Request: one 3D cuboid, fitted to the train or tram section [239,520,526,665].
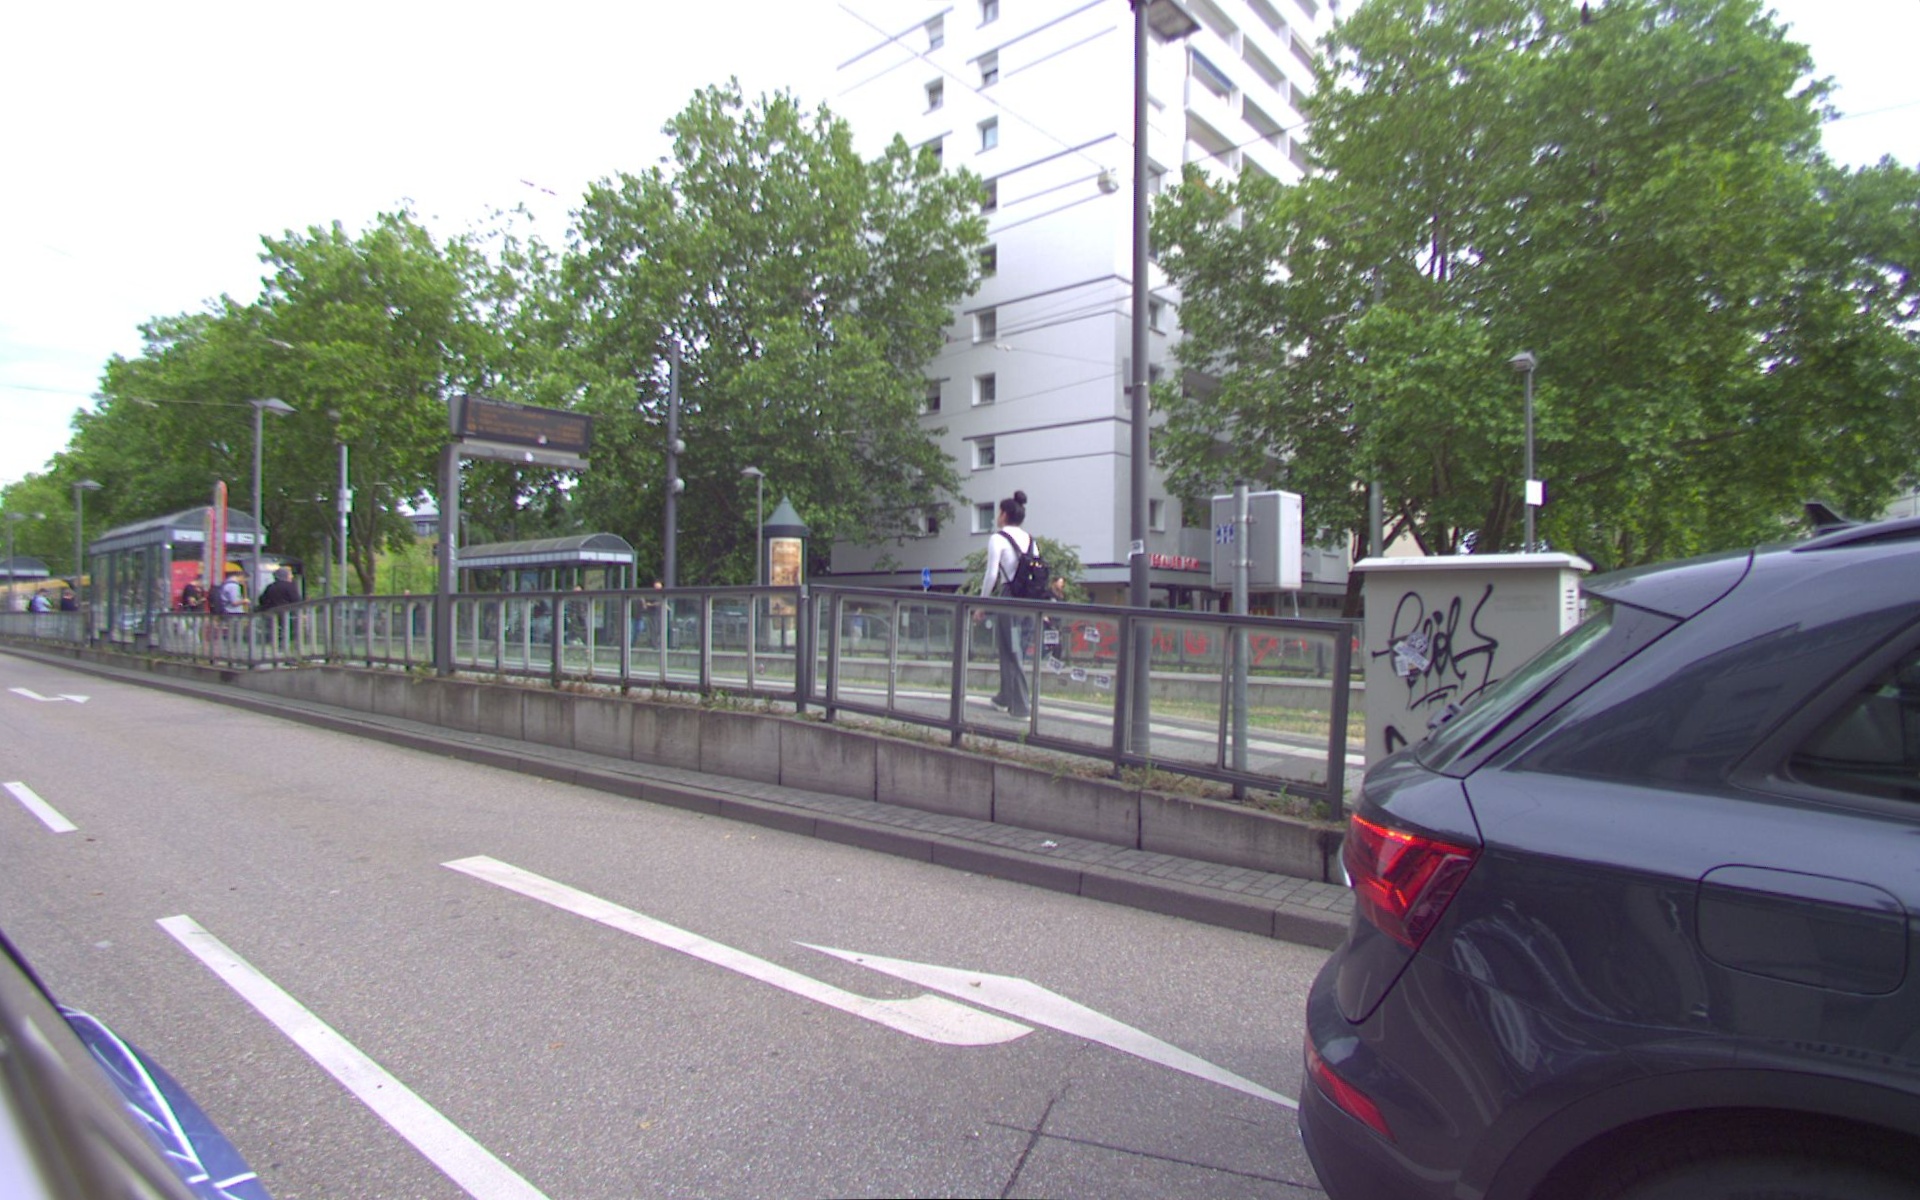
[{"bbox_3d":[-19.239,-0.138,32.770,15.196,3.781,3.295,-1,0,41],"label":"train or tram section"}]

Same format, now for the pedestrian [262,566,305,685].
[{"bbox_3d":[-10.527,0.387,15.750,0.513,1.818,0.606,-1,0,-37],"label":"pedestrian"}]

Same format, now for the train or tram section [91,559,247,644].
[{"bbox_3d":[-40.520,0.135,51.411,16.241,3.781,3.295,-1,0,41],"label":"train or tram section"}]

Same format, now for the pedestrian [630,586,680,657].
[{"bbox_3d":[-7.730,0.534,25.644,0.850,1.769,0.871,-1,0,41],"label":"pedestrian"}]

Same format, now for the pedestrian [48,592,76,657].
[{"bbox_3d":[-25.566,0.690,28.831,0.523,1.818,0.607,-1,0,-35],"label":"pedestrian"}]

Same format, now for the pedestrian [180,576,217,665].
[{"bbox_3d":[-15.923,0.417,21.170,0.467,1.818,0.607,-1,0,-24],"label":"pedestrian"}]

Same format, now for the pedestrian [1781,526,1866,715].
[{"bbox_3d":[9.410,0.211,11.035,0.666,1.965,0.728,-1,0,41],"label":"pedestrian"}]

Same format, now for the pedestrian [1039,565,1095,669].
[{"bbox_3d":[1.875,0.287,17.691,0.666,1.763,0.728,-1,0,41],"label":"pedestrian"}]

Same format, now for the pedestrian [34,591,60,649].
[{"bbox_3d":[-29.035,0.621,32.194,0.523,1.818,0.607,-1,0,-35],"label":"pedestrian"}]

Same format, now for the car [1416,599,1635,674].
[{"bbox_3d":[12.795,0.797,23.048,3.938,1.564,1.937,-1,0,-6],"label":"car"}]

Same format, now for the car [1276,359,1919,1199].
[{"bbox_3d":[2.690,0.519,0.979,4.225,1.649,1.715,-1,0,41],"label":"car"}]

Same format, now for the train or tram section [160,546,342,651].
[{"bbox_3d":[-29.645,-0.004,41.920,12.543,3.781,3.295,-1,0,41],"label":"train or tram section"}]

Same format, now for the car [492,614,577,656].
[{"bbox_3d":[-15.432,1.243,36.632,3.218,1.439,1.561,-1,-1,41],"label":"car"}]

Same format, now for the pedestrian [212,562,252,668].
[{"bbox_3d":[-12.749,0.265,17.725,0.605,1.818,0.469,-1,0,45],"label":"pedestrian"}]

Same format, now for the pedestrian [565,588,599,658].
[{"bbox_3d":[-10.728,0.650,28.723,0.553,1.945,0.690,-1,0,41],"label":"pedestrian"}]

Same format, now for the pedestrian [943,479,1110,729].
[{"bbox_3d":[0.479,0.028,7.406,0.979,1.683,0.711,-1,0,44],"label":"pedestrian"}]

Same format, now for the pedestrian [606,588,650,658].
[{"bbox_3d":[-8.929,0.612,27.224,0.666,1.848,0.871,-1,0,41],"label":"pedestrian"}]
